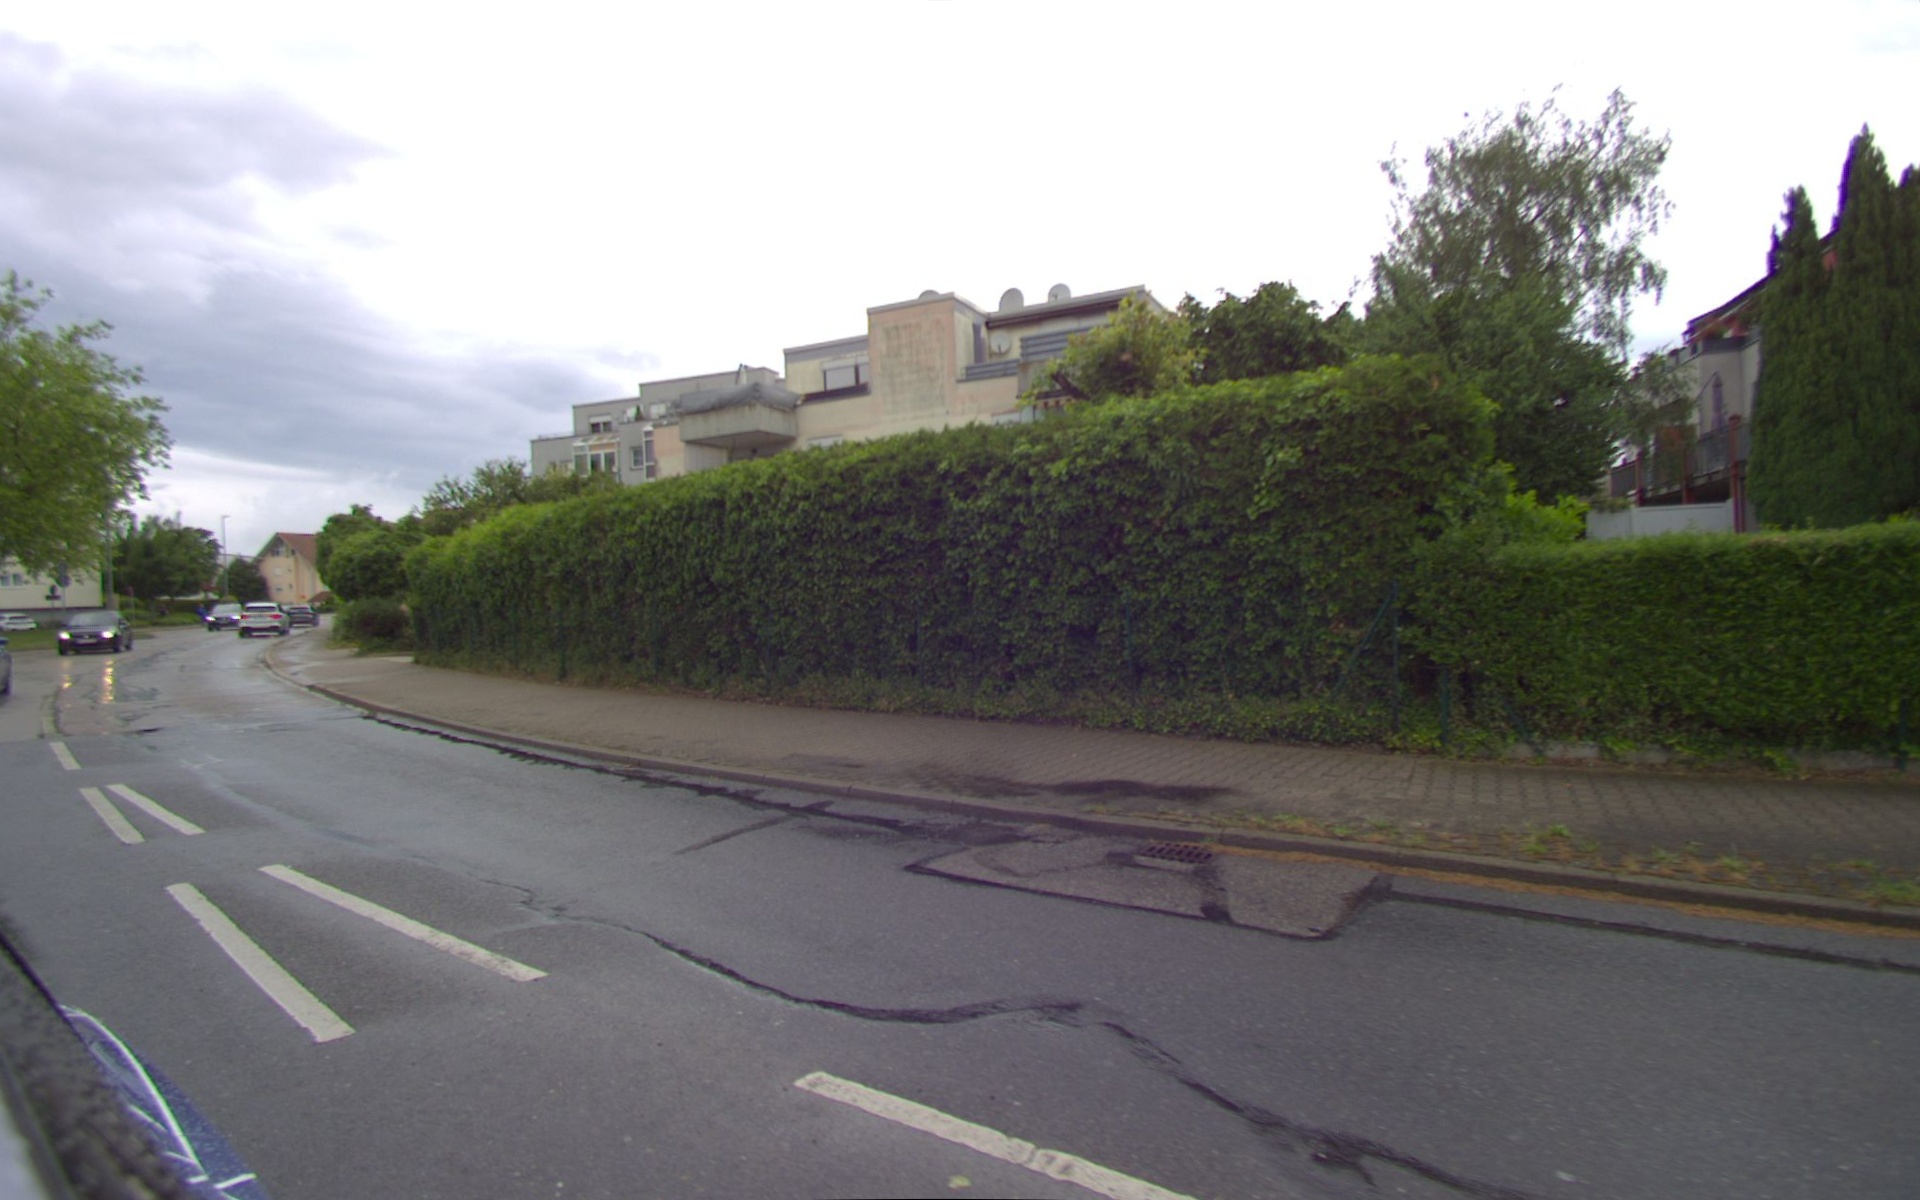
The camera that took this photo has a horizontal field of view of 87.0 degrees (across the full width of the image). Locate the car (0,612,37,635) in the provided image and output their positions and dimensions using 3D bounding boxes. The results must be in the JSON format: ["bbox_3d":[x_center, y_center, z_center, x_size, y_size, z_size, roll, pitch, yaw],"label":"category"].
[{"bbox_3d":[-64.424,1.583,68.392,3.747,1.491,1.732,-1,1,25],"label":"car"}]

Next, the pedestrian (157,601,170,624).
[{"bbox_3d":[-63.872,1.031,81.119,0.670,1.786,0.608,-2,2,37],"label":"pedestrian"}]

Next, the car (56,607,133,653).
[{"bbox_3d":[-30.805,1.023,36.112,1.812,1.459,4.009,-3,2,-37],"label":"car"}]

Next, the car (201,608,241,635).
[{"bbox_3d":[-47.197,1.370,64.703,1.811,1.561,4.011,-3,2,-33],"label":"car"}]

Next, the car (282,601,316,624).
[{"bbox_3d":[-44.399,0.805,68.004,1.717,1.425,4.154,-3,1,-31],"label":"car"}]

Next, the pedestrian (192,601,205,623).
[{"bbox_3d":[-58.970,0.948,78.366,0.776,1.678,0.583,-1,2,44],"label":"pedestrian"}]

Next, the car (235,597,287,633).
[{"bbox_3d":[-35.080,0.704,50.869,1.865,1.623,4.879,-3,2,-32],"label":"car"}]
